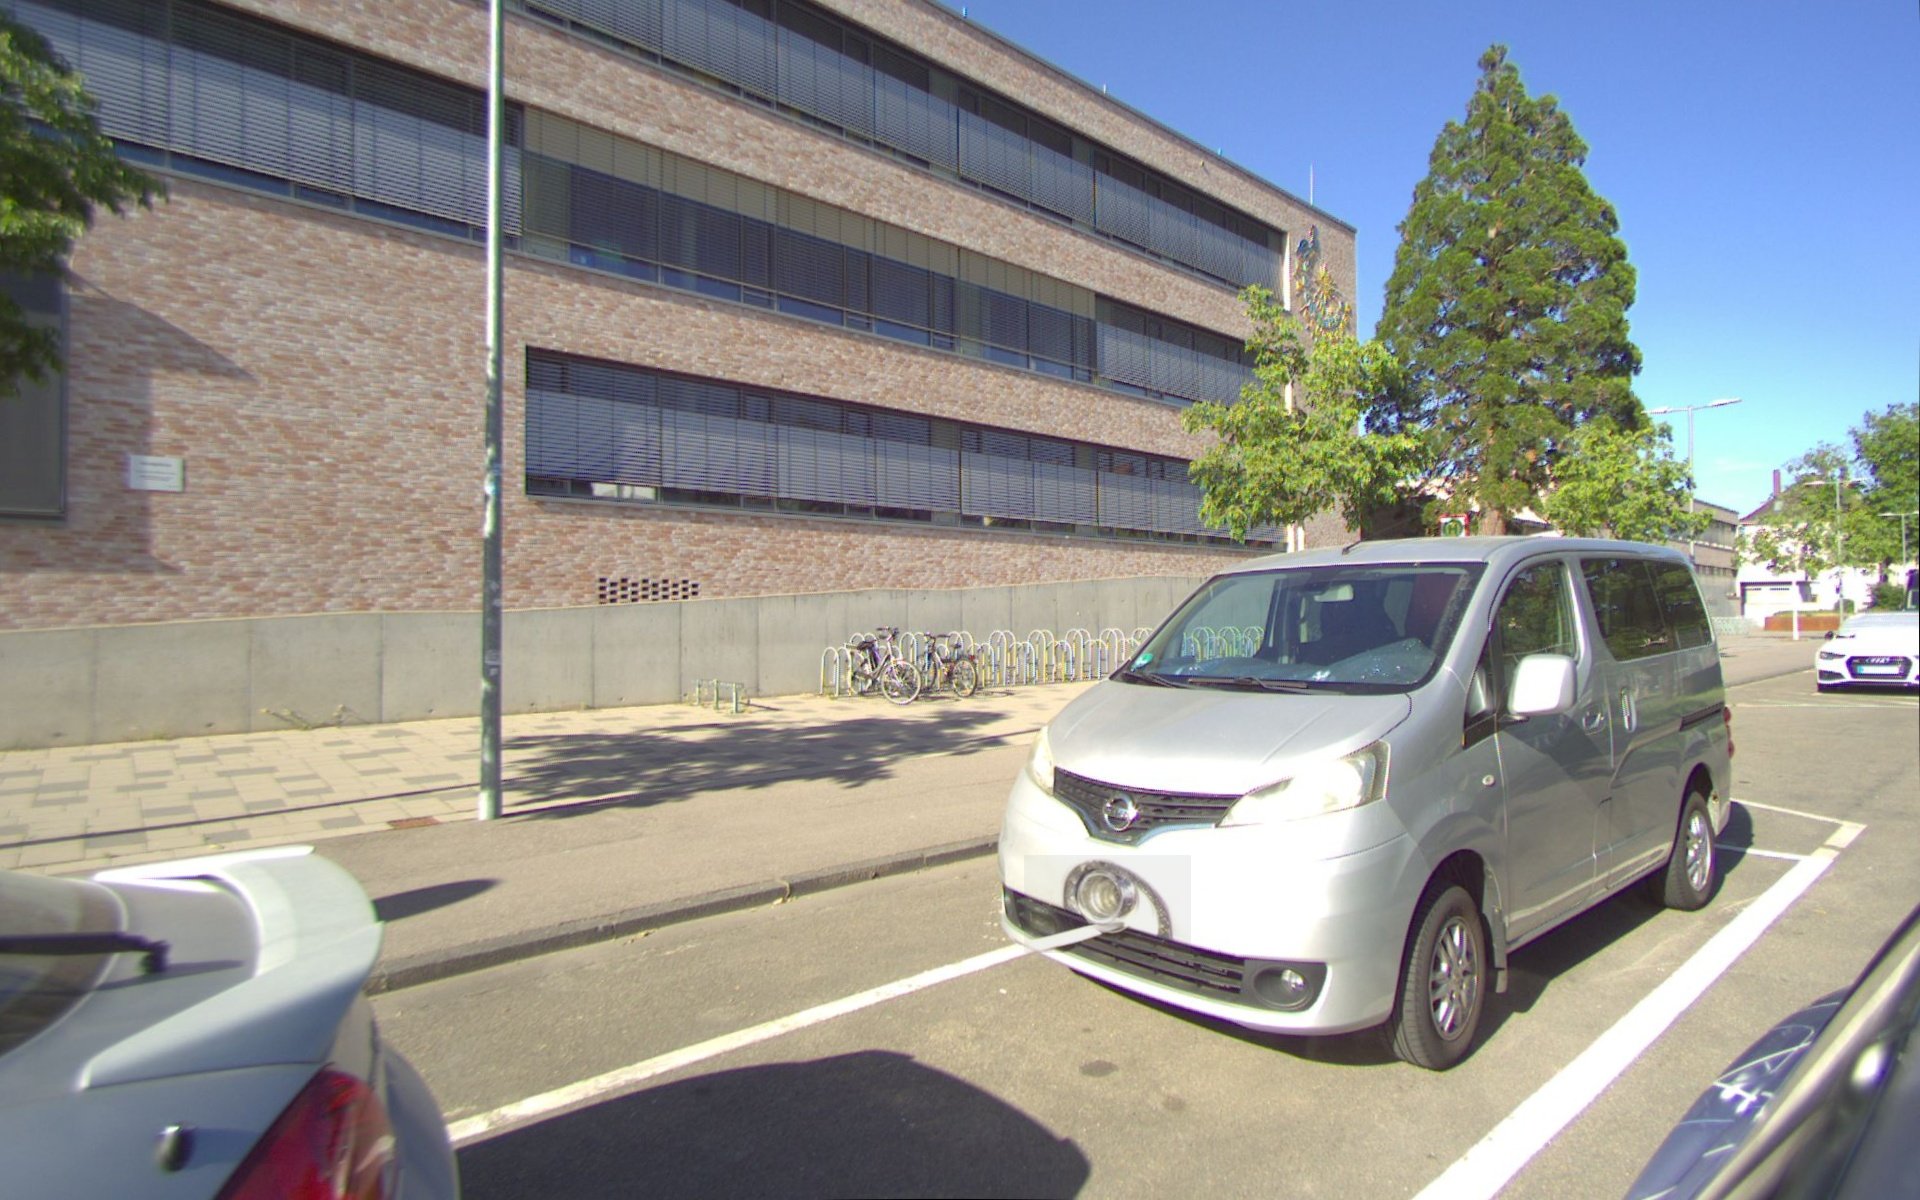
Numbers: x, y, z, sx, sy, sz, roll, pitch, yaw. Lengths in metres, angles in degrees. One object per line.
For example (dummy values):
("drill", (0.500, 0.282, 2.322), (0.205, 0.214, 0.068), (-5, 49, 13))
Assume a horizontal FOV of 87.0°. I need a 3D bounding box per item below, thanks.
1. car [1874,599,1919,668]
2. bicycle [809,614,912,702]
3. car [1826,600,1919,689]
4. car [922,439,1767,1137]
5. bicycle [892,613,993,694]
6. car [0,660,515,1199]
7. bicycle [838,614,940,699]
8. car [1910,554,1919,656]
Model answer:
("car", (21.867, 0.694, 22.285), (4.554, 1.438, 1.997), (0, -1, -41))
("bicycle", (-1.456, 0.797, 14.598), (0.491, 1.121, 1.797), (0, 1, -42))
("car", (17.127, 0.720, 18.168), (4.577, 1.438, 1.797), (0, -1, -42))
("car", (2.091, 0.534, 4.813), (4.333, 1.879, 1.798), (0, -2, -39))
("bicycle", (-0.299, 0.799, 15.721), (0.491, 1.121, 1.797), (0, 1, -42))
("car", (-2.614, 0.811, 0.477), (4.095, 1.336, 1.767), (-1, -1, -41))
("bicycle", (-1.073, 0.797, 14.943), (0.491, 1.121, 1.797), (0, 1, -42))
("car", (26.909, 0.113, 26.758), (6.421, 2.548, 2.117), (0, -1, -43))
